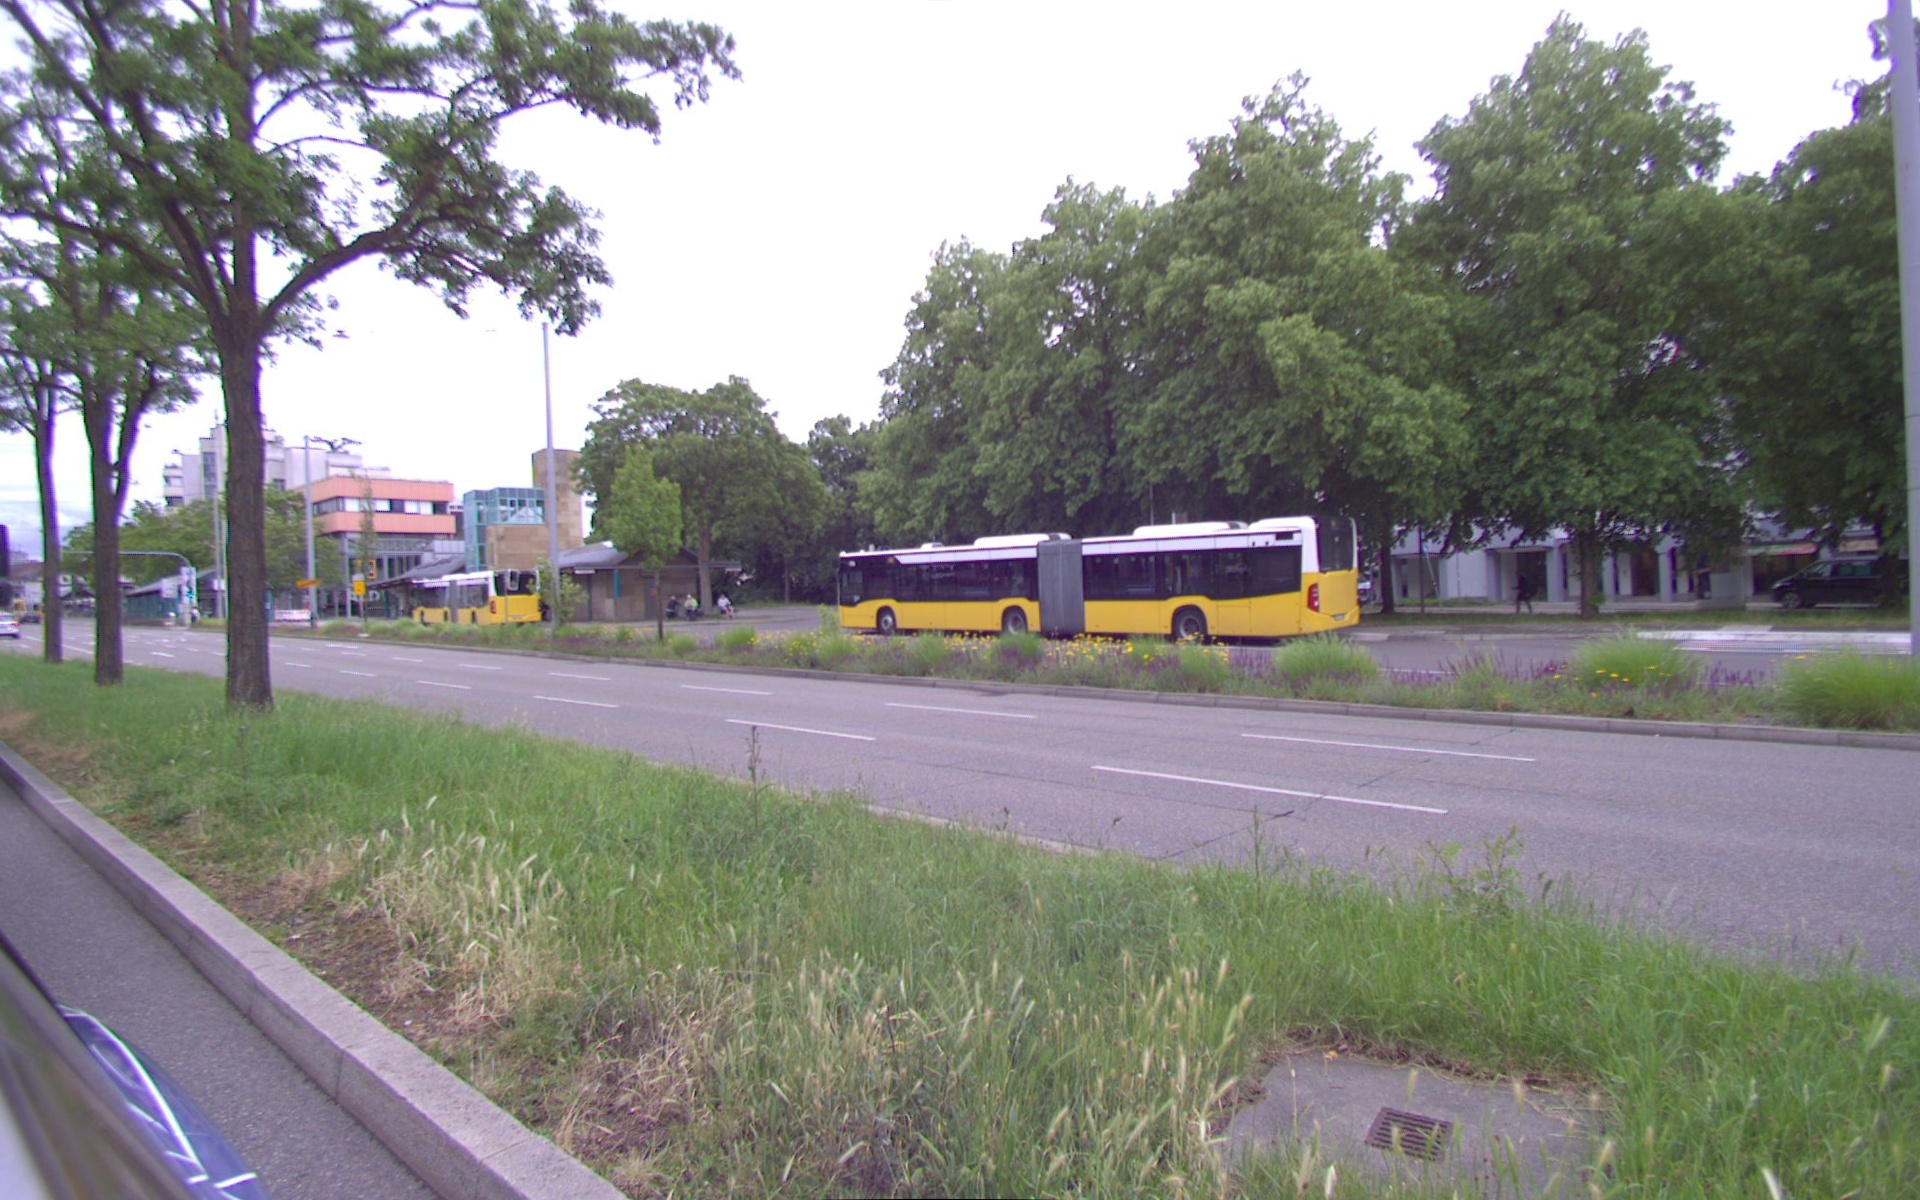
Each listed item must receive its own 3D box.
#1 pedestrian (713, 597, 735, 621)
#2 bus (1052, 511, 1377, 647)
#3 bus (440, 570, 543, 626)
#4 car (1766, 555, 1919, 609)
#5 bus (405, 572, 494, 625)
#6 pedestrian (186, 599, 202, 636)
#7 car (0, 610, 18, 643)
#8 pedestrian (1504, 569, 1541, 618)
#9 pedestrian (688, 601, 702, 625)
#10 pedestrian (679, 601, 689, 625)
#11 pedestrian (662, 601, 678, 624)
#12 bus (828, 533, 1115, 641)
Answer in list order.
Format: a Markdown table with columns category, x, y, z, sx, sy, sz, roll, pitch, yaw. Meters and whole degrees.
| category | x | y | z | sx | sy | sz | roll | pitch | yaw |
| --- | --- | --- | --- | --- | --- | --- | --- | --- | --- |
| pedestrian | -11.918 | 0.471 | 51.108 | 0.924 | 1.180 | 0.641 | -1 | 0 | 41 |
| bus | 6.367 | -0.425 | 26.464 | 2.849 | 3.025 | 7.889 | -1 | 0 | -44 |
| bus | -25.664 | -0.053 | 55.153 | 2.846 | 2.830 | 9.192 | -1 | 0 | -39 |
| car | 33.130 | -0.634 | 37.789 | 1.758 | 1.861 | 4.429 | -1 | 0 | -35 |
| bus | -31.516 | -0.044 | 62.254 | 2.846 | 3.025 | 9.191 | -1 | 0 | -40 |
| pedestrian | -58.400 | 1.317 | 77.173 | 0.889 | 2.809 | 1.150 | -1 | 0 | -36 |
| car | -59.987 | 1.665 | 63.016 | 4.000 | 2.029 | 1.703 | -1 | 0 | 43 |
| pedestrian | 18.550 | -0.208 | 33.388 | 0.904 | 1.569 | 0.761 | -2 | 0 | 41 |
| pedestrian | -13.222 | 0.625 | 50.504 | 0.589 | 1.171 | 0.745 | -1 | 0 | -23 |
| pedestrian | -13.737 | 0.632 | 50.394 | 0.361 | 1.175 | 0.900 | -1 | 0 | -23 |
| pedestrian | -14.898 | 0.647 | 51.978 | 0.590 | 1.171 | 0.744 | -1 | 0 | -36 |
| bus | -0.008 | -0.307 | 33.073 | 2.848 | 3.025 | 10.401 | -1 | 0 | -44 |
